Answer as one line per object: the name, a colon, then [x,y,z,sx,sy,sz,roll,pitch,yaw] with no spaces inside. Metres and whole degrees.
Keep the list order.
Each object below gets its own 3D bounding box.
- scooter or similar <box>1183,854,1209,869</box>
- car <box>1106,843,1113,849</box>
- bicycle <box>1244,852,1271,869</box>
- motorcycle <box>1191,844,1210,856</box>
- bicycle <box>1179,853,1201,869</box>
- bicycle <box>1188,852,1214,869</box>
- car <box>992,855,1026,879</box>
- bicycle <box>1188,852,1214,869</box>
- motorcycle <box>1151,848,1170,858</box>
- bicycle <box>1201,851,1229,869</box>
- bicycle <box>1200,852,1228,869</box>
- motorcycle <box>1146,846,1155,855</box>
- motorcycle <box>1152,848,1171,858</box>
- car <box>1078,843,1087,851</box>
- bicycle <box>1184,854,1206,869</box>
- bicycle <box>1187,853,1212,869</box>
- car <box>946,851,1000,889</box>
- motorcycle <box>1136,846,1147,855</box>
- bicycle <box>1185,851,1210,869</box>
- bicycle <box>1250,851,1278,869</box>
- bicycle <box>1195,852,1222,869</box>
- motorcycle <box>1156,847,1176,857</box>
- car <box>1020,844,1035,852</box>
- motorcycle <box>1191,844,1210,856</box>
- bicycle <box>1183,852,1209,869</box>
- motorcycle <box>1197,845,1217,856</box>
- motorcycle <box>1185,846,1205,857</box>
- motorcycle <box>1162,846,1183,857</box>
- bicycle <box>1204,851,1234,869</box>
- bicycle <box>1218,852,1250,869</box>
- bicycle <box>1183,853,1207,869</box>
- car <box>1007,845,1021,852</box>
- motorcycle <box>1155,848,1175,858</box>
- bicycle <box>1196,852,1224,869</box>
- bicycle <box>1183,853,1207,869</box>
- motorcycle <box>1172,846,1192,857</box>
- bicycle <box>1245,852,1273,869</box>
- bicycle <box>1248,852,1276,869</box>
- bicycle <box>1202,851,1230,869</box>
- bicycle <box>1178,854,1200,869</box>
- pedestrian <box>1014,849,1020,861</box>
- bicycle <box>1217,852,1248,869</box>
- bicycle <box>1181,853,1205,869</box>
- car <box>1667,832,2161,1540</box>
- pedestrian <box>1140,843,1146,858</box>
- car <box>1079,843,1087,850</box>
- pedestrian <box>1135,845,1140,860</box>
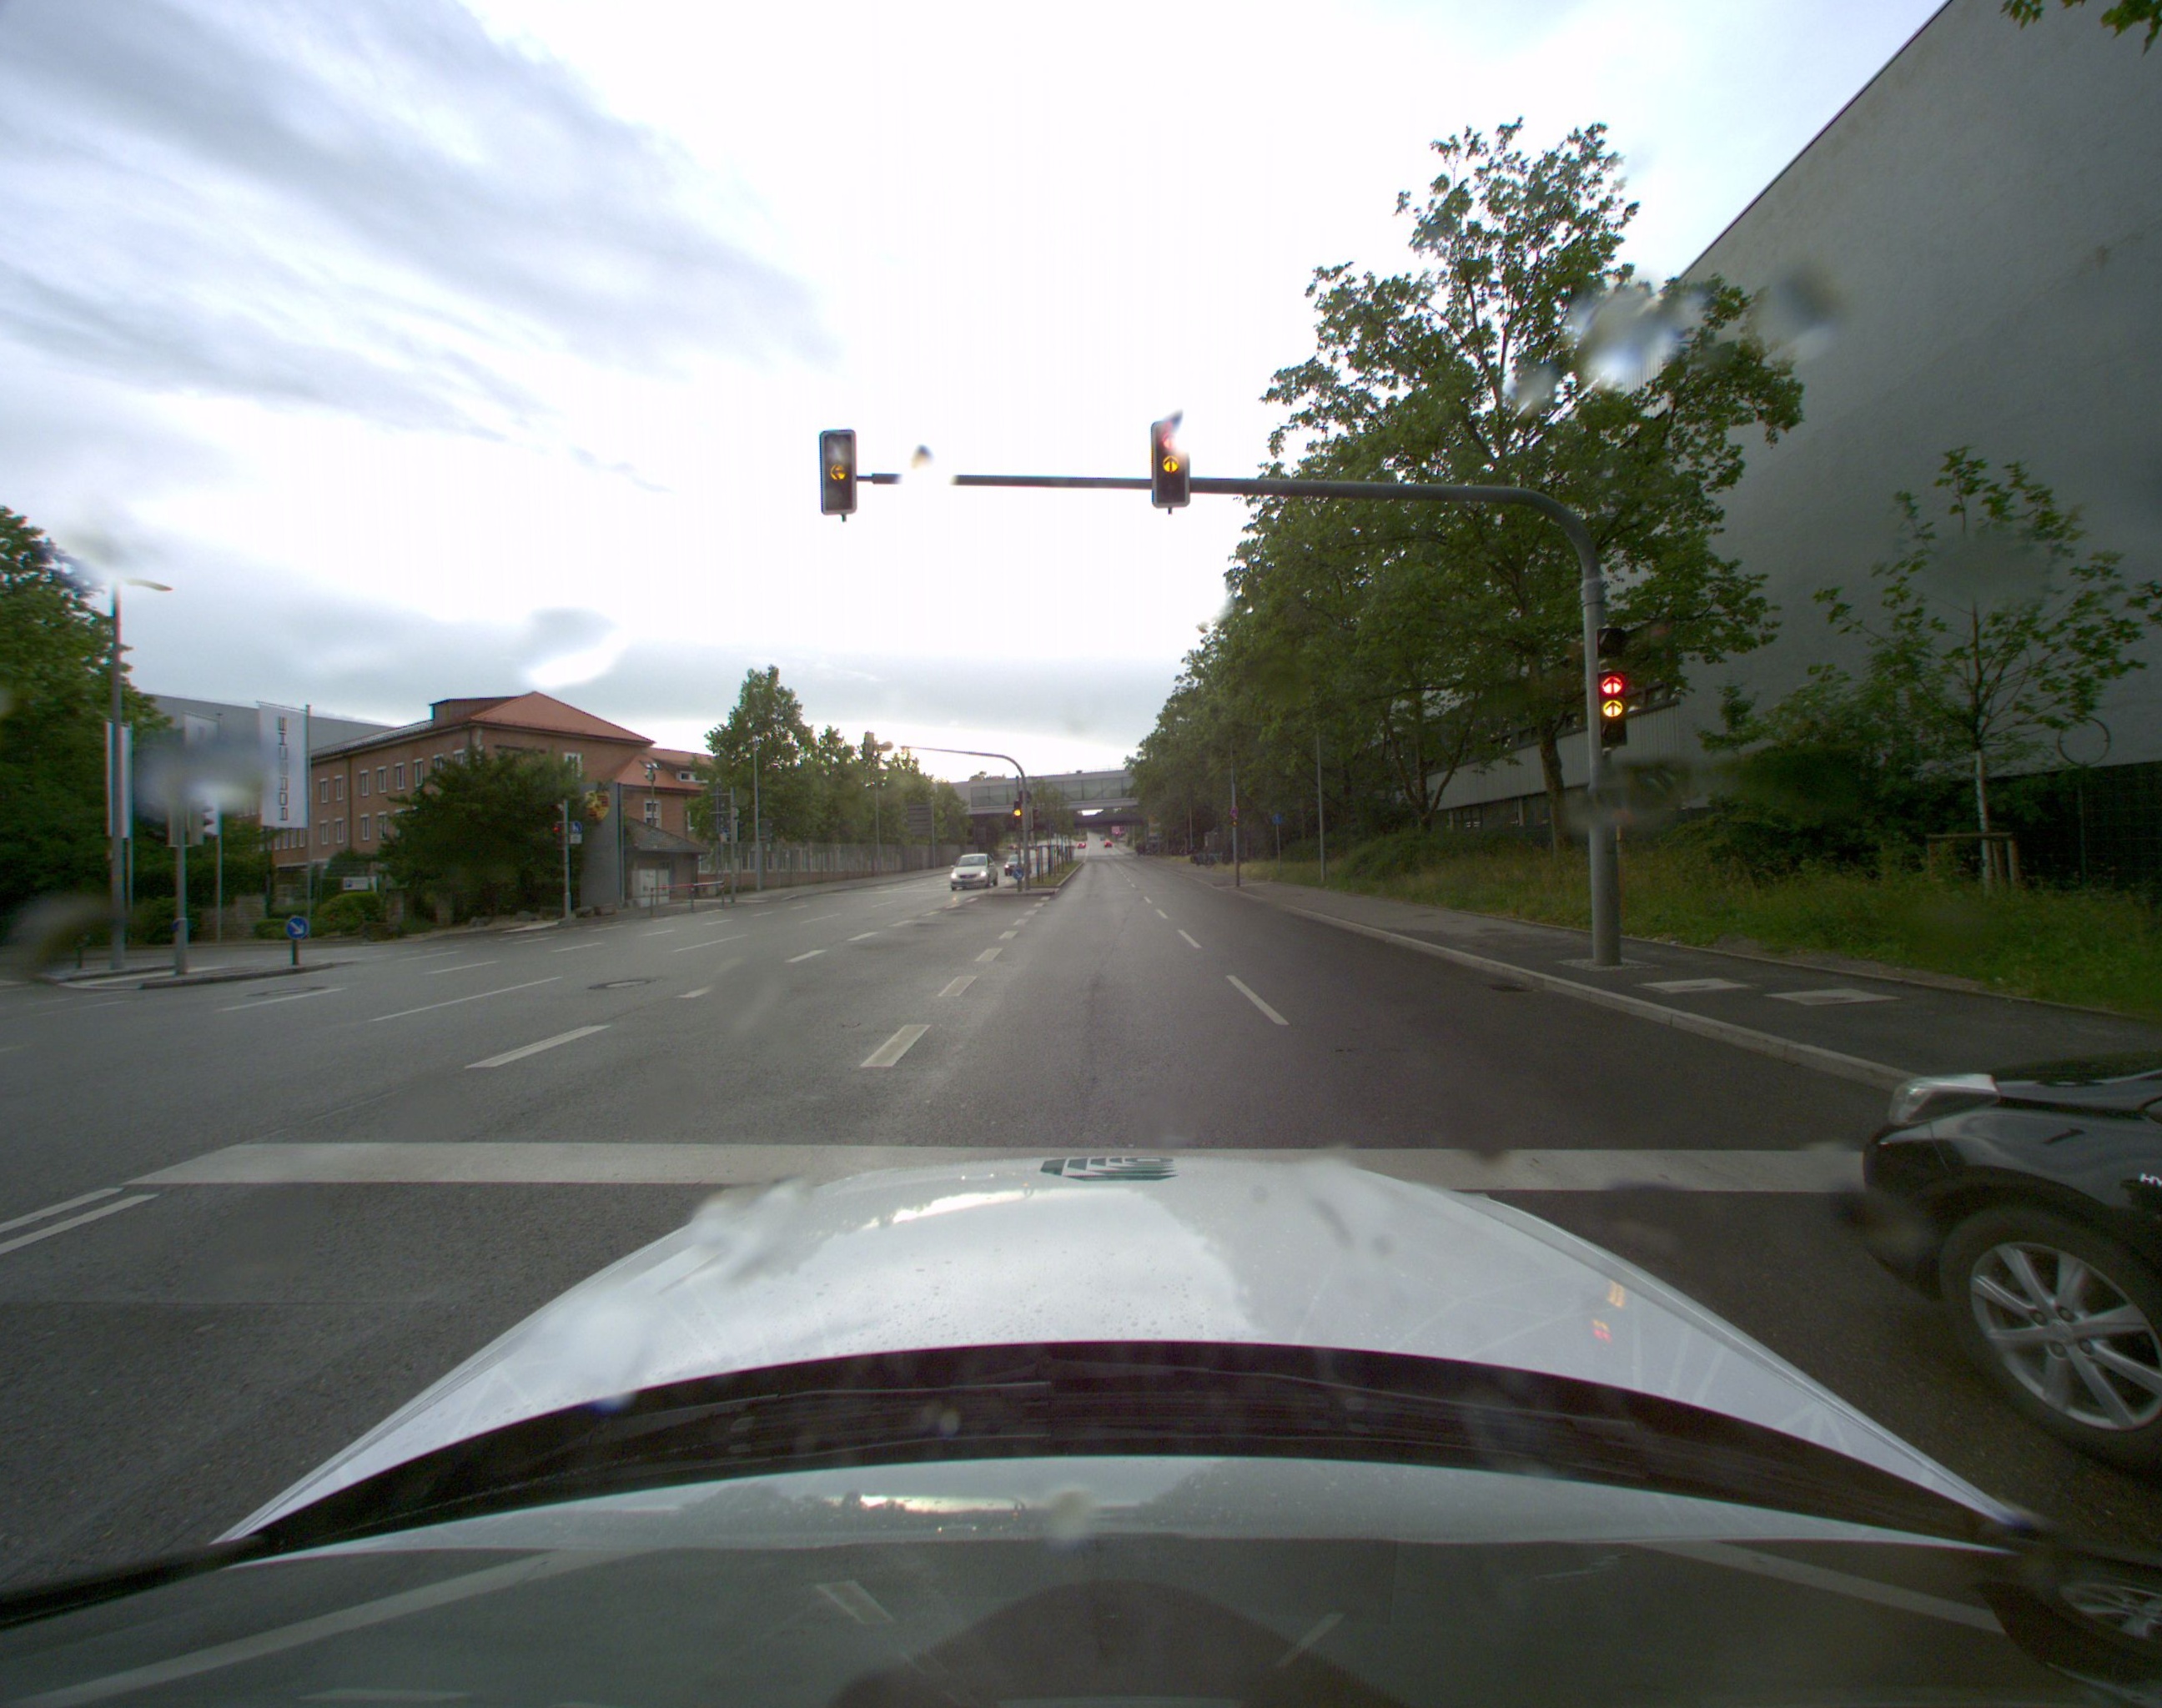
scooter or similar: [9.023,0.562,63.900,1.982,1.138,0.541,0,-1,2]
car: [7.085,-2.040,203.139,1.868,1.497,4.070,0,-1,2]
bicycle: [13.815,0.526,63.750,1.982,1.328,0.576,0,-1,2]
motorcycle: [15.861,-0.503,108.099,2.354,1.476,0.724,-3,0,9]
bicycle: [9.698,0.626,72.584,1.955,1.328,0.654,0,-1,2]
bicycle: [9.594,0.515,65.002,1.982,1.328,0.576,0,-1,2]
car: [-5.107,0.892,58.204,1.870,1.624,3.780,-2,0,2]
bicycle: [9.293,0.514,63.102,1.982,1.242,0.541,0,-1,2]
motorcycle: [10.522,-0.114,107.993,2.354,1.202,0.795,-3,0,9]
bicycle: [9.644,0.444,58.622,1.982,1.242,0.541,0,-1,2]
bicycle: [9.671,0.453,59.203,1.982,1.242,0.541,0,-1,2]
motorcycle: [10.435,-0.557,122.026,0.789,1.311,2.371,-3,0,-7]
motorcycle: [10.442,-0.079,106.110,2.354,1.202,0.724,-3,0,9]
car: [0.379,-1.801,206.906,1.986,1.762,4.002,0,-1,2]
bicycle: [10.622,0.685,75.784,1.955,1.328,0.654,0,-1,2]
bicycle: [9.951,0.560,68.335,1.982,1.328,0.576,0,-1,2]
car: [-5.011,0.697,38.280,1.870,1.624,3.780,-2,0,2]
motorcycle: [9.336,-0.470,125.382,0.792,1.311,2.363,-3,0,-16]
bicycle: [9.623,0.493,67.489,1.982,1.430,0.723,0,-1,2]
bicycle: [13.719,0.481,61.005,1.982,1.328,0.576,0,-1,2]
bicycle: [9.645,0.494,61.719,1.982,1.242,0.541,0,-1,2]
motorcycle: [10.603,-0.243,101.482,2.354,1.202,0.724,-3,0,9]
car: [-14.152,-1.523,215.656,2.011,2.014,3.952,1,-1,-42]
motorcycle: [15.717,-0.480,106.867,2.354,1.476,0.724,-3,0,9]
bicycle: [9.298,0.526,65.818,1.982,1.328,0.576,0,-1,2]
motorcycle: [15.237,-0.376,98.765,2.354,1.202,0.724,-3,0,9]
motorcycle: [14.058,-0.294,100.085,2.354,1.202,0.724,-3,0,9]
motorcycle: [10.703,-0.266,95.117,2.354,1.202,0.724,-3,0,9]
bicycle: [9.473,0.410,55.812,1.982,1.216,0.541,0,-1,2]
bicycle: [10.086,0.442,53.767,1.982,1.095,0.541,0,-1,2]
bicycle: [9.828,0.590,70.288,1.953,1.328,0.576,0,-1,2]
car: [-18.219,-1.464,221.277,2.011,2.014,3.952,1,-1,-42]
motorcycle: [10.316,-0.125,99.715,2.354,1.202,0.724,-3,0,9]
bicycle: [9.618,0.478,60.770,1.982,1.242,0.541,0,-1,2]
bicycle: [9.648,0.581,69.054,1.982,1.328,0.576,0,-1,2]
motorcycle: [11.980,-0.272,96.707,2.354,1.202,0.724,-3,0,9]
bicycle: [13.783,0.515,63.082,1.982,1.328,0.576,0,-1,2]
bicycle: [13.725,0.493,61.769,1.982,1.328,0.576,0,-1,2]
bicycle: [9.609,0.438,57.999,1.982,1.233,0.541,0,-1,2]
bicycle: [9.836,0.655,74.300,1.955,1.328,0.654,0,-1,2]
pedestrian: [-10.766,0.113,137.253,0.868,2.004,0.855,-3,0,3]
bicycle: [10.105,0.452,54.336,1.982,1.095,0.541,0,-1,2]
bicycle: [9.764,0.601,70.980,1.955,1.328,0.654,0,-1,2]
car: [3.280,0.702,1.121,1.871,1.494,4.073,-3,0,-2]
pedestrian: [8.577,-0.514,112.868,0.619,2.013,0.606,-3,0,2]
car: [0.516,-1.931,211.468,1.877,1.762,3.970,0,-1,2]
pedestrian: [7.889,-0.212,113.136,0.619,2.013,0.606,-3,0,2]
